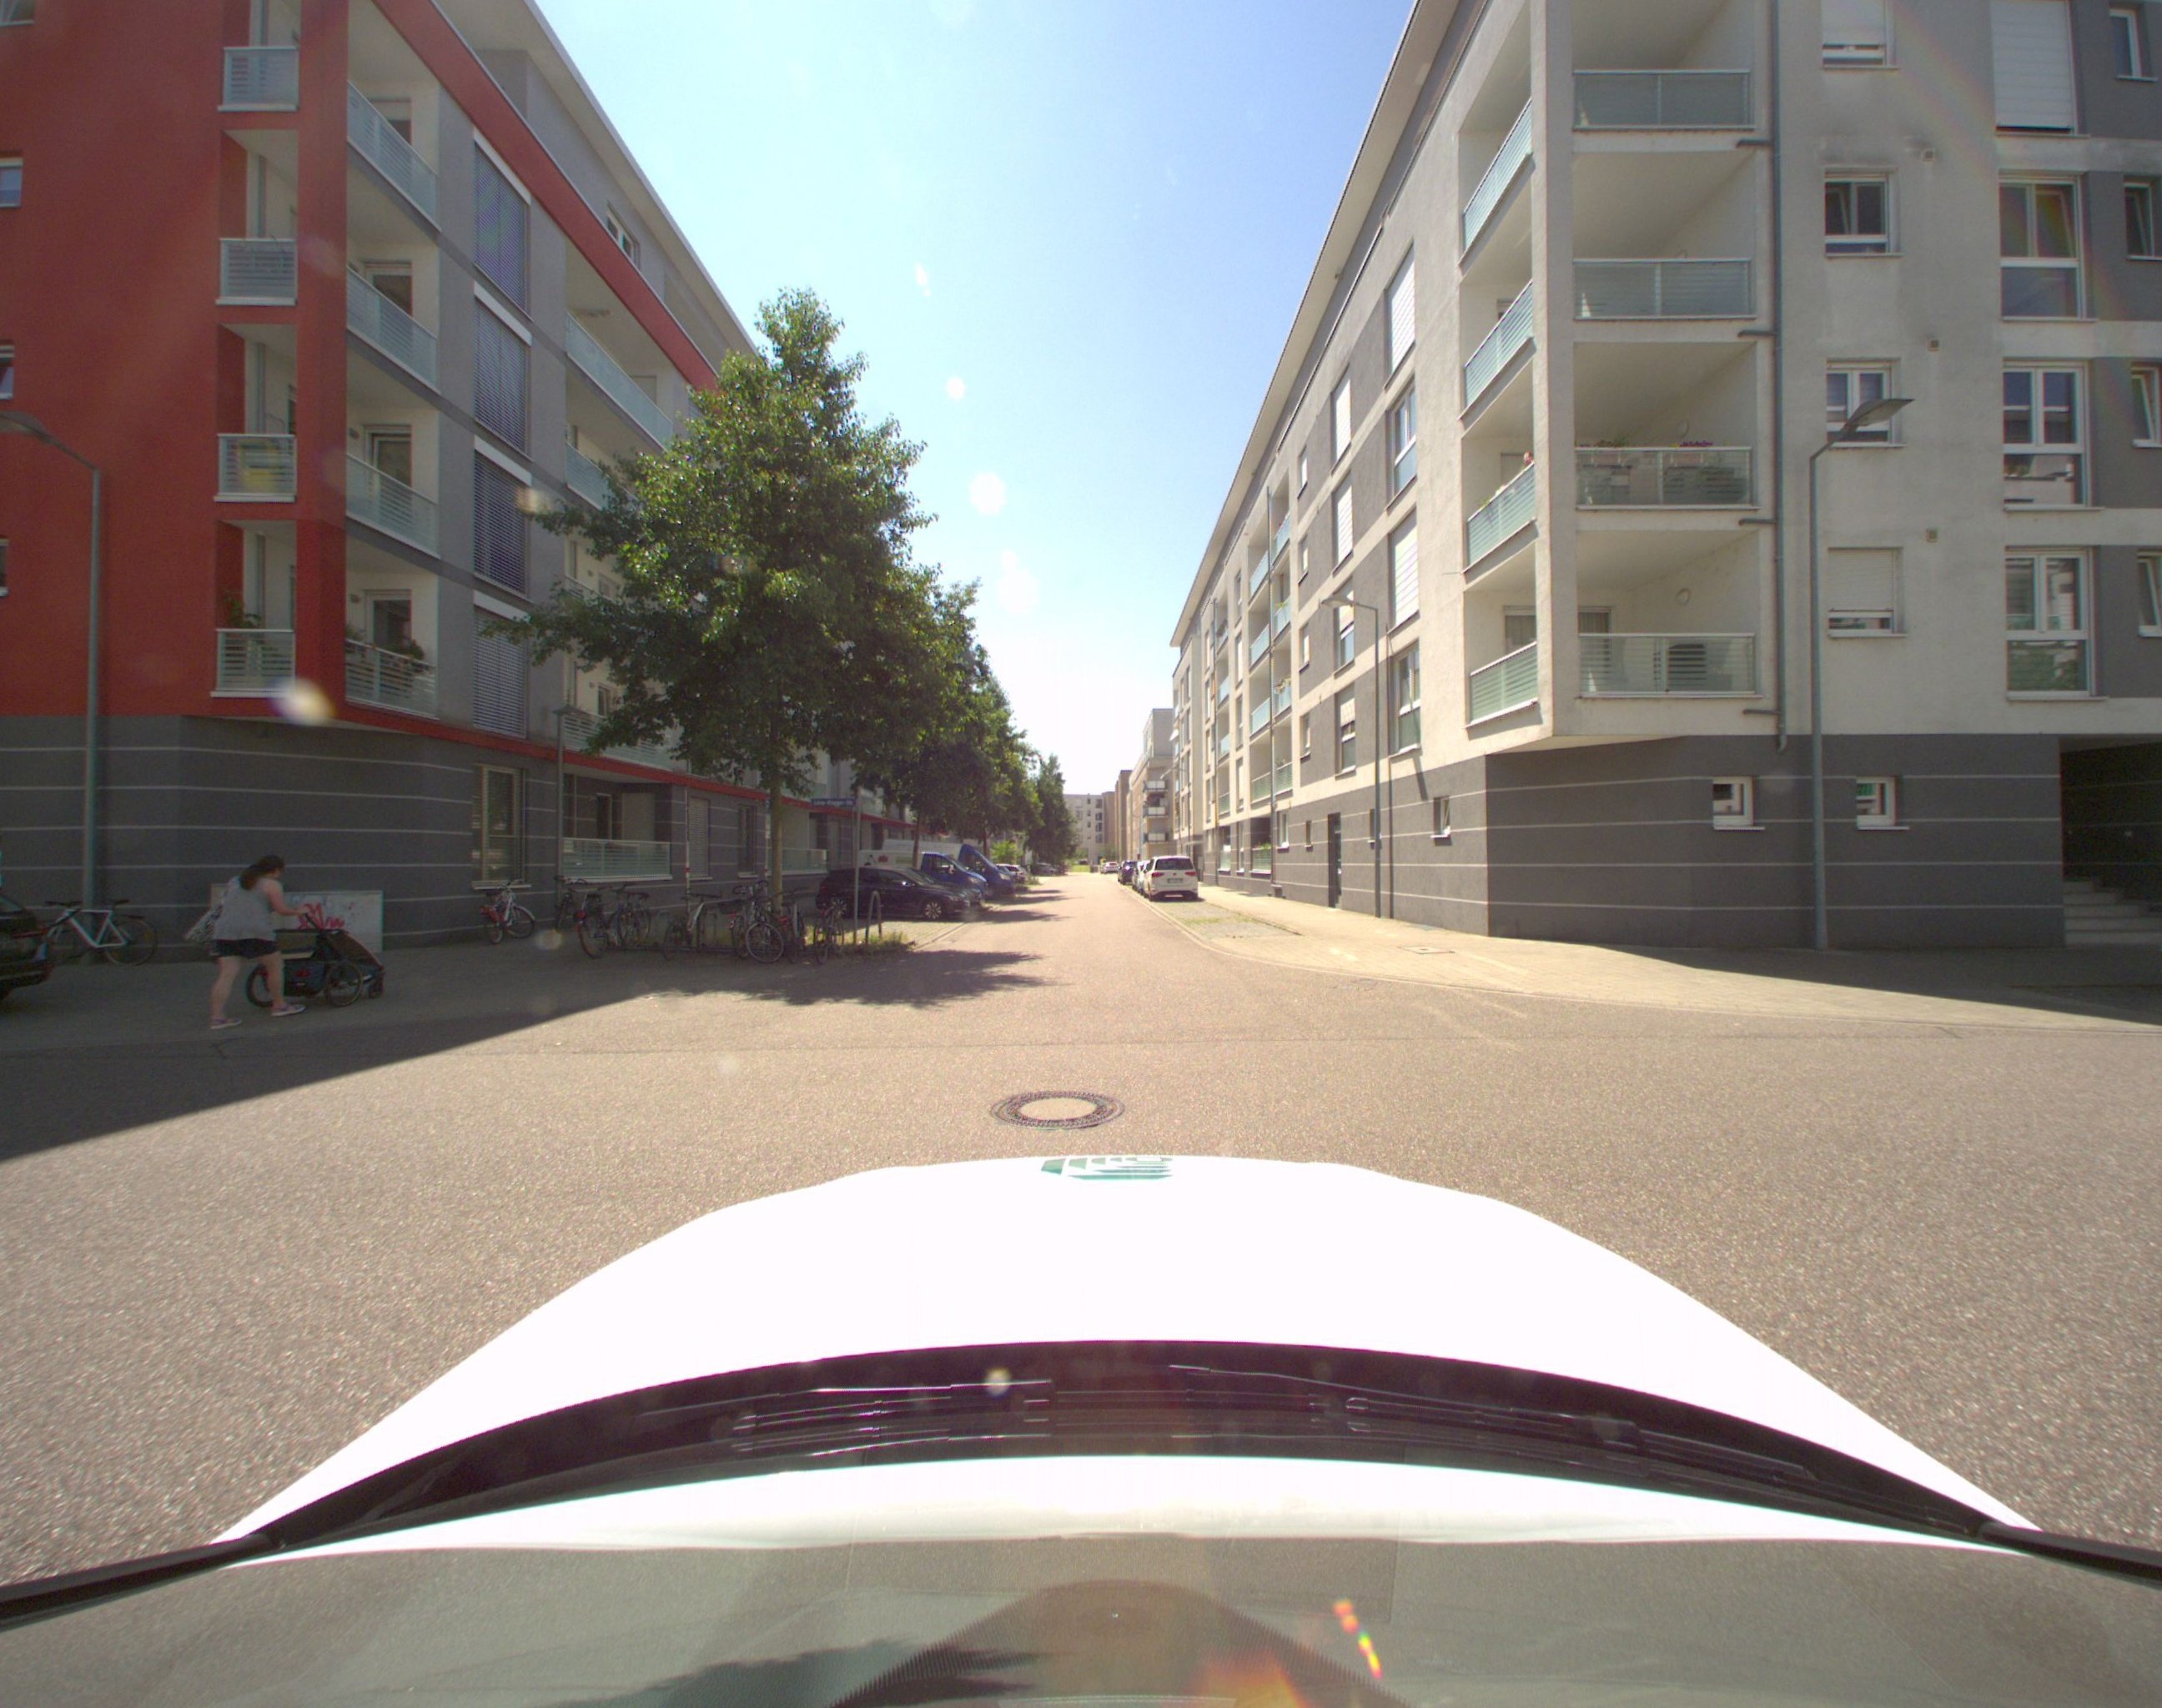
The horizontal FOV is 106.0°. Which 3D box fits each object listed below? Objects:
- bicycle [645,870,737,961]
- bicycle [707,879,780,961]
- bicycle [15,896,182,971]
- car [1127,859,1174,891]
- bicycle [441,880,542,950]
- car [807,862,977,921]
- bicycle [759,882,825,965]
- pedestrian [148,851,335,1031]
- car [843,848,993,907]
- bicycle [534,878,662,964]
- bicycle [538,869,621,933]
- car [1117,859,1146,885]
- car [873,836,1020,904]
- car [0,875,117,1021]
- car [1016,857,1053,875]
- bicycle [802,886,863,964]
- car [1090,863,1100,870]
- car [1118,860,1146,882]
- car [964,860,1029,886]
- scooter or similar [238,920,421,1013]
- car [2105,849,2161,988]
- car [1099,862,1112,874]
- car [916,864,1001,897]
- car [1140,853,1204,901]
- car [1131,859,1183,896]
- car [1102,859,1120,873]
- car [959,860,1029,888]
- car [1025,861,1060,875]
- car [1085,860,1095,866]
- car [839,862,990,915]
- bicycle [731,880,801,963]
[{"bbox_3d":[-6.366,0.960,13.408,0.591,1.331,1.812,-1,0,1],"label":"bicycle"},{"bbox_3d":[-5.599,1.062,13.617,0.517,1.204,1.751,1,1,-2],"label":"bicycle"},{"bbox_3d":[-13.733,1.102,11.401,1.836,0.987,0.301,0,-1,-3],"label":"bicycle"},{"bbox_3d":[3.478,1.031,41.226,1.987,1.524,3.998,-1,-1,-1],"label":"car"},{"bbox_3d":[-10.503,1.043,14.604,0.607,1.107,2.098,0,-1,-10],"label":"bicycle"},{"bbox_3d":[-5.335,1.030,23.480,4.368,1.515,2.075,1,-1,0],"label":"car"},{"bbox_3d":[-4.705,1.094,13.360,0.569,1.174,1.764,3,1,-6],"label":"bicycle"},{"bbox_3d":[-8.332,0.828,8.130,0.996,1.690,0.832,-1,-1,1],"label":"pedestrian"},{"bbox_3d":[-6.037,0.850,30.666,5.128,2.119,2.311,1,0,0],"label":"car"},{"bbox_3d":[-7.766,1.026,13.237,0.687,1.170,2.223,2,0,1],"label":"bicycle"},{"bbox_3d":[-10.560,0.962,17.231,0.549,1.240,1.924,-1,-1,0],"label":"bicycle"},{"bbox_3d":[3.172,1.104,50.804,1.750,1.552,4.004,0,0,4],"label":"car"},{"bbox_3d":[-5.863,0.689,36.100,6.004,2.816,2.605,-1,-1,0],"label":"car"},{"bbox_3d":[-12.890,0.963,7.899,4.561,1.383,1.936,0,1,-3],"label":"car"},{"bbox_3d":[-5.356,1.397,94.931,3.966,2.014,2.004,-1,-1,6],"label":"car"},{"bbox_3d":[-4.114,1.143,13.580,0.464,1.141,1.925,-1,-1,-2],"label":"bicycle"},{"bbox_3d":[2.817,2.463,161.879,1.985,1.519,4.002,-1,-1,3],"label":"car"},{"bbox_3d":[3.734,1.180,58.615,1.877,1.552,4.006,0,0,5],"label":"car"},{"bbox_3d":[-5.479,1.251,53.296,3.971,1.618,2.001,0,-1,2],"label":"car"},{"bbox_3d":[-8.305,1.222,9.061,1.064,0.888,1.019,0,-1,1],"label":"scooter or similar"},{"bbox_3d":[13.518,0.694,8.325,3.975,1.469,1.755,0,2,-1],"label":"car"},{"bbox_3d":[3.791,2.141,126.572,1.987,1.717,3.998,0,-1,-1],"label":"car"},{"bbox_3d":[-6.224,1.341,41.818,3.971,1.662,2.001,0,-1,2],"label":"car"},{"bbox_3d":[3.346,0.828,30.699,1.990,1.657,4.115,-1,-1,1],"label":"car"},{"bbox_3d":[3.319,0.992,36.398,1.986,1.524,4.000,-1,-1,1],"label":"car"},{"bbox_3d":[3.694,1.500,99.353,1.988,1.675,3.998,0,-1,-1],"label":"car"},{"bbox_3d":[-5.273,1.204,49.560,3.971,1.662,2.001,0,-1,2],"label":"car"},{"bbox_3d":[-4.593,1.684,97.511,3.966,1.602,2.004,-1,-1,6],"label":"car"},{"bbox_3d":[1.993,2.011,182.757,1.987,1.519,3.998,0,-1,-1],"label":"car"},{"bbox_3d":[-5.241,1.079,26.031,4.368,1.542,1.878,1,-1,0],"label":"car"},{"bbox_3d":[-5.138,1.067,13.365,0.432,1.204,1.700,1,1,1],"label":"bicycle"}]
